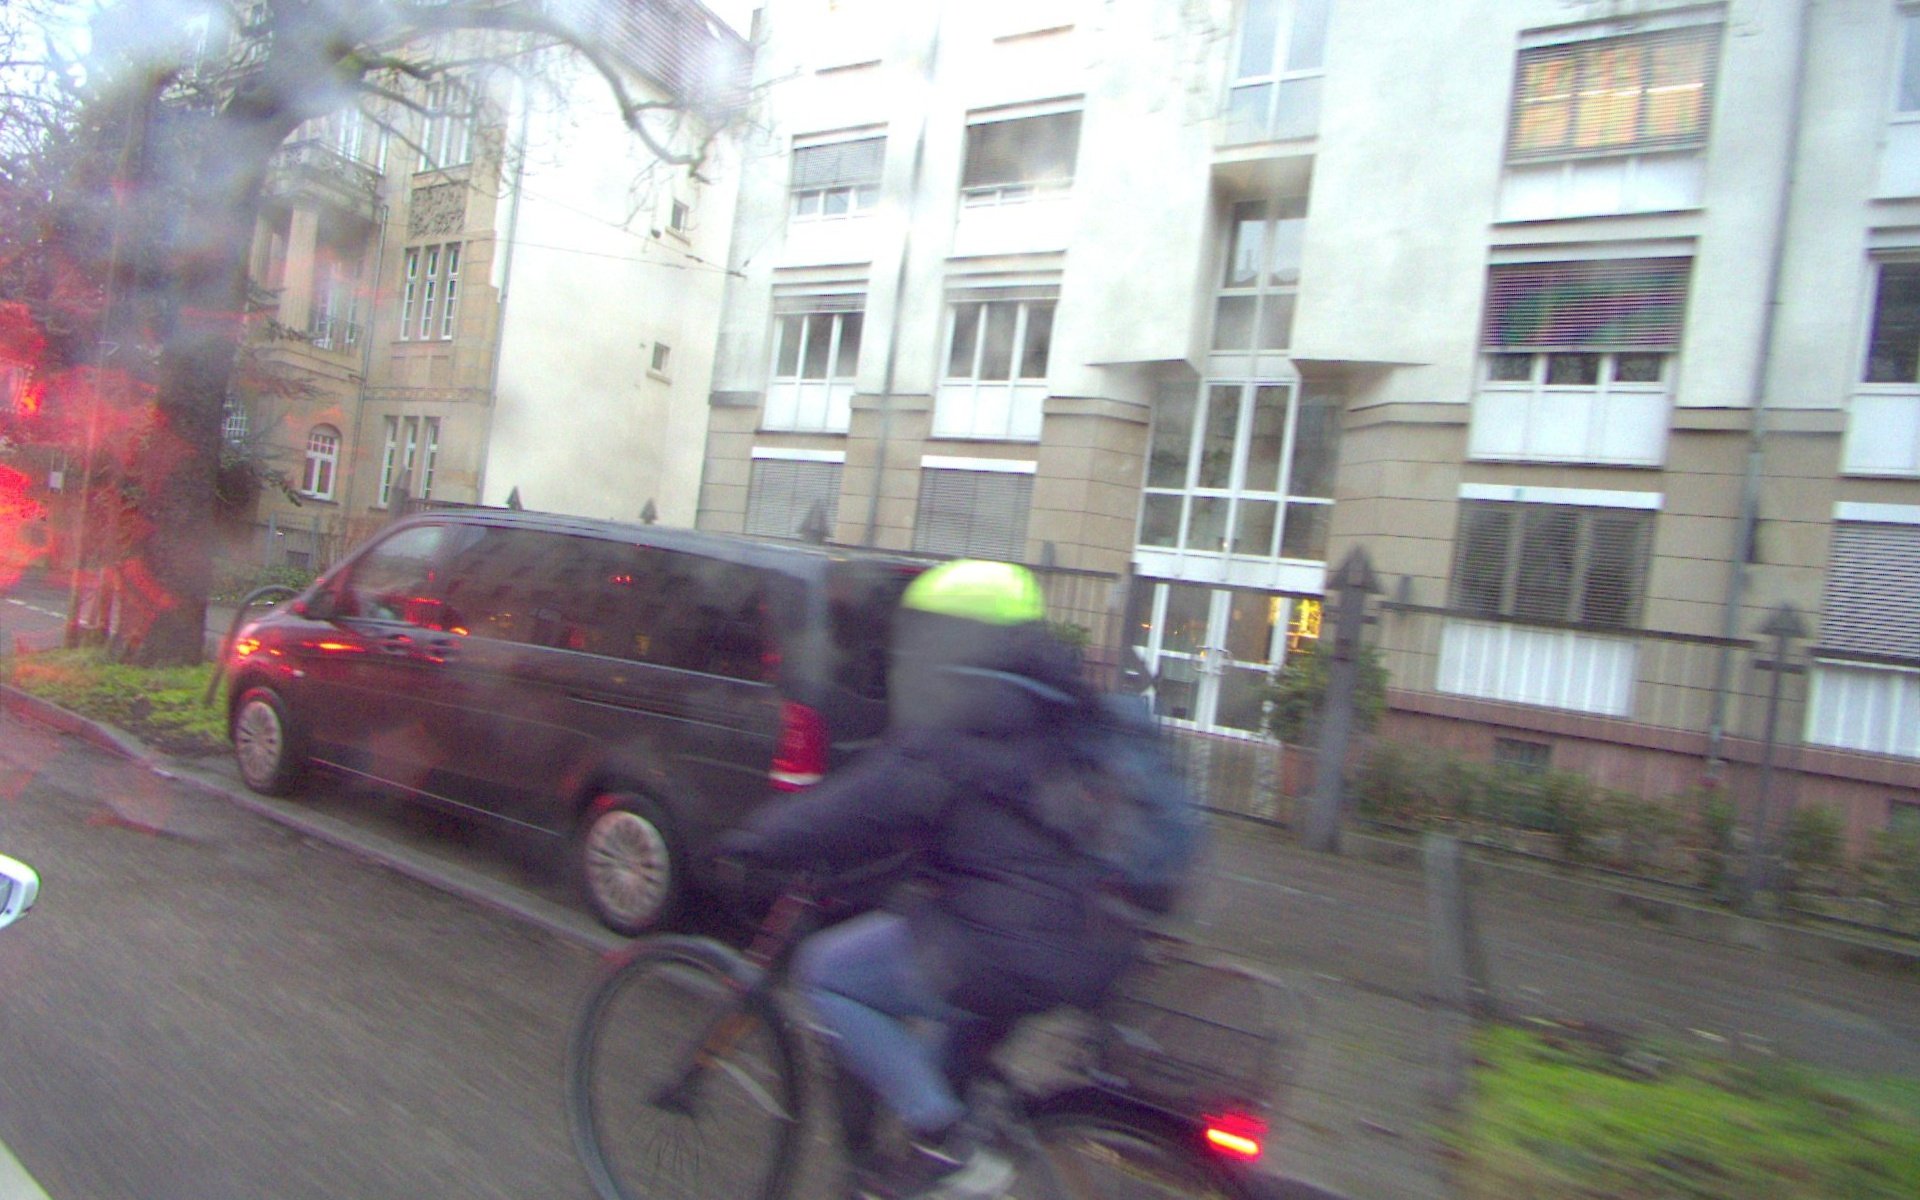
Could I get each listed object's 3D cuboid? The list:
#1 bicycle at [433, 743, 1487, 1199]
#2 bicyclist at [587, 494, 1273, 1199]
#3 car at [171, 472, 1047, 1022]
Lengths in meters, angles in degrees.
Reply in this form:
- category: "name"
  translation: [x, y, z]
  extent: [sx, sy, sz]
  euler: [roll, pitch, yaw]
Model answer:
- category: "bicycle"
  translation: [-0.073, 1.036, 2.086]
  extent: [1.907, 1.125, 0.719]
  euler: [8, -2, 25]
- category: "bicyclist"
  translation: [-0.042, 0.721, 2.098]
  extent: [1.037, 1.681, 0.719]
  euler: [8, -2, 25]
- category: "car"
  translation: [-2.218, 0.490, 5.957]
  extent: [4.878, 1.899, 2.034]
  euler: [7, 0, 29]
